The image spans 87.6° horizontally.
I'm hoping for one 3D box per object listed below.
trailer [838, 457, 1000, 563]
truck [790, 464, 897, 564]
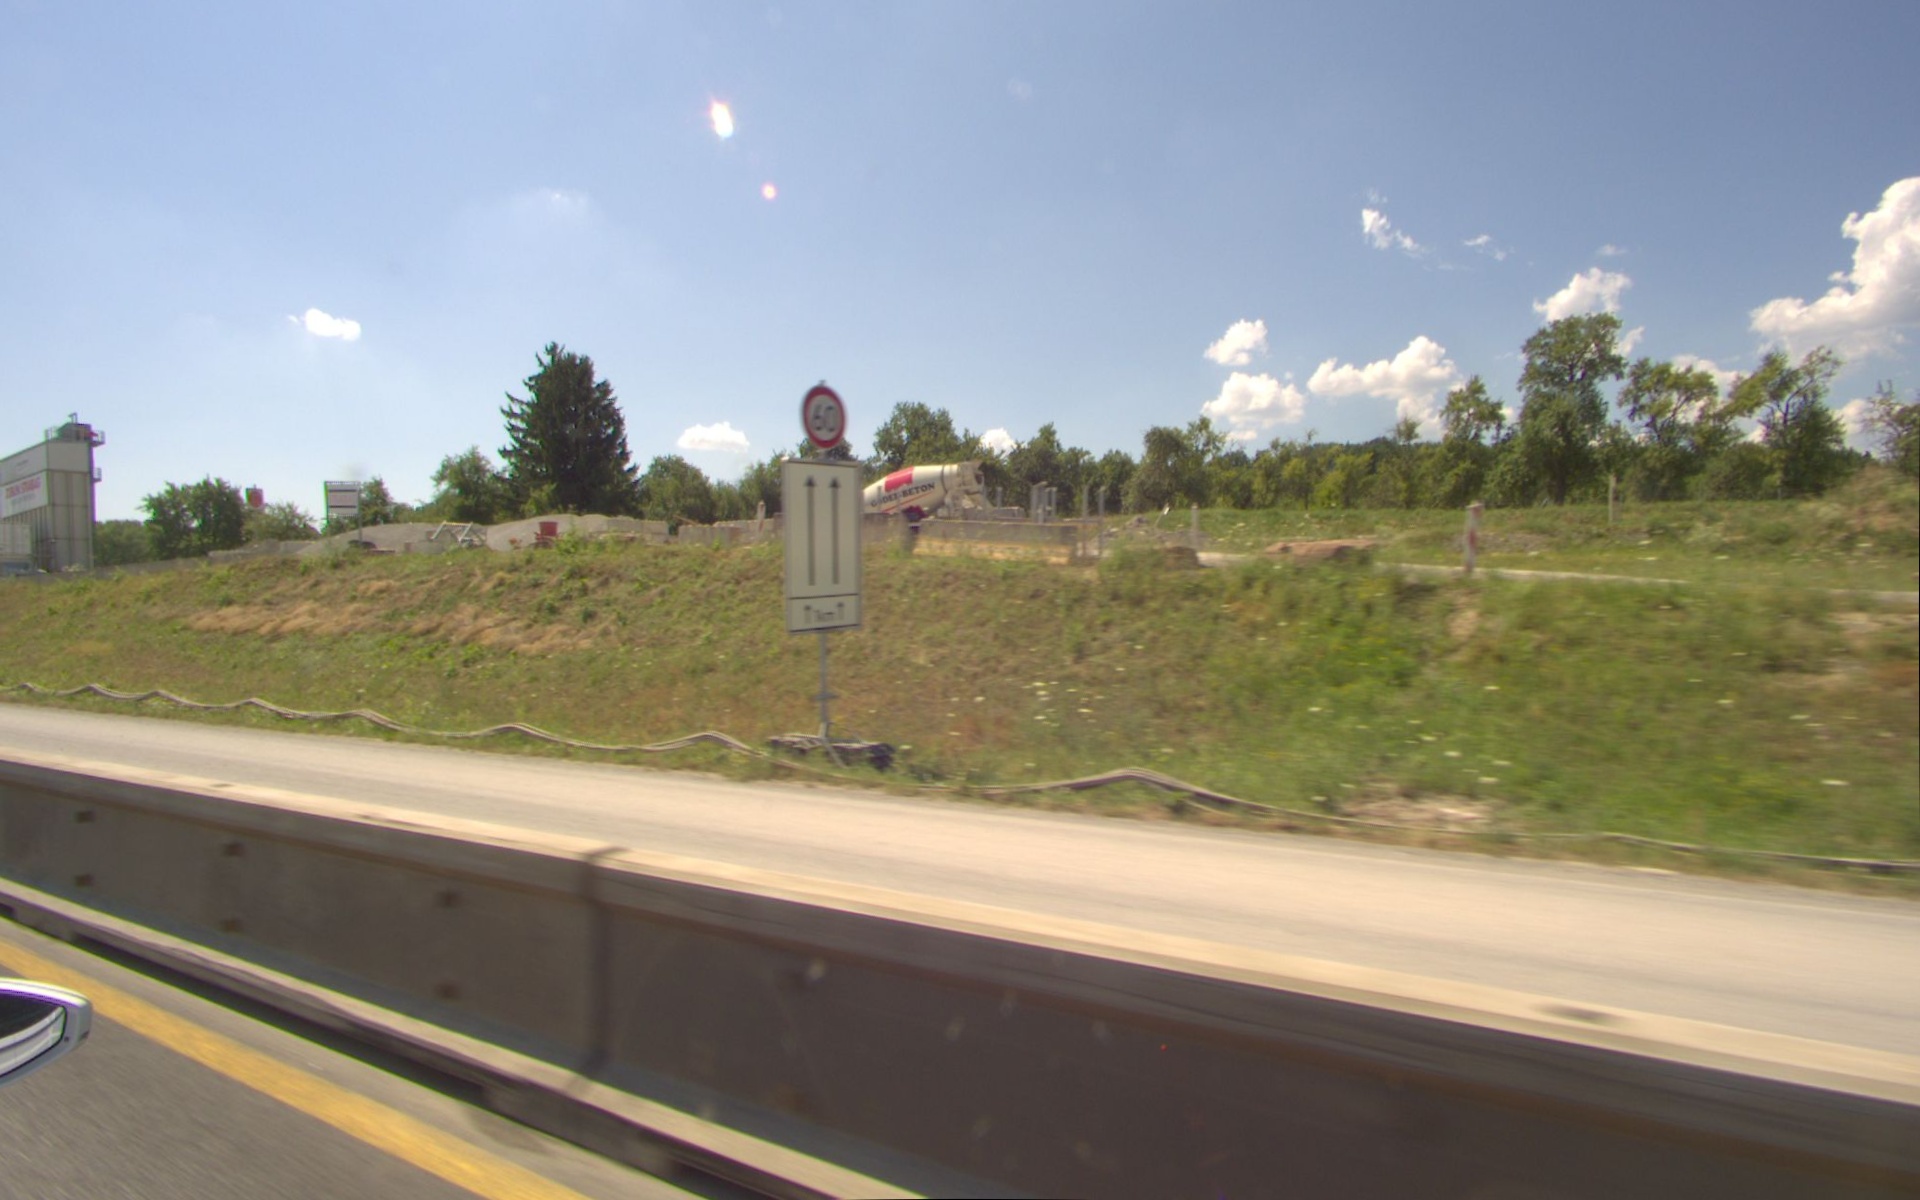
[{"bbox_3d":[-1.818,-3.866,44.484,6.632,4.169,2.757,-1,0,23],"label":"trailer"},{"bbox_3d":[-5.336,-3.839,45.987,4.031,4.150,2.746,0,0,23],"label":"truck"}]
